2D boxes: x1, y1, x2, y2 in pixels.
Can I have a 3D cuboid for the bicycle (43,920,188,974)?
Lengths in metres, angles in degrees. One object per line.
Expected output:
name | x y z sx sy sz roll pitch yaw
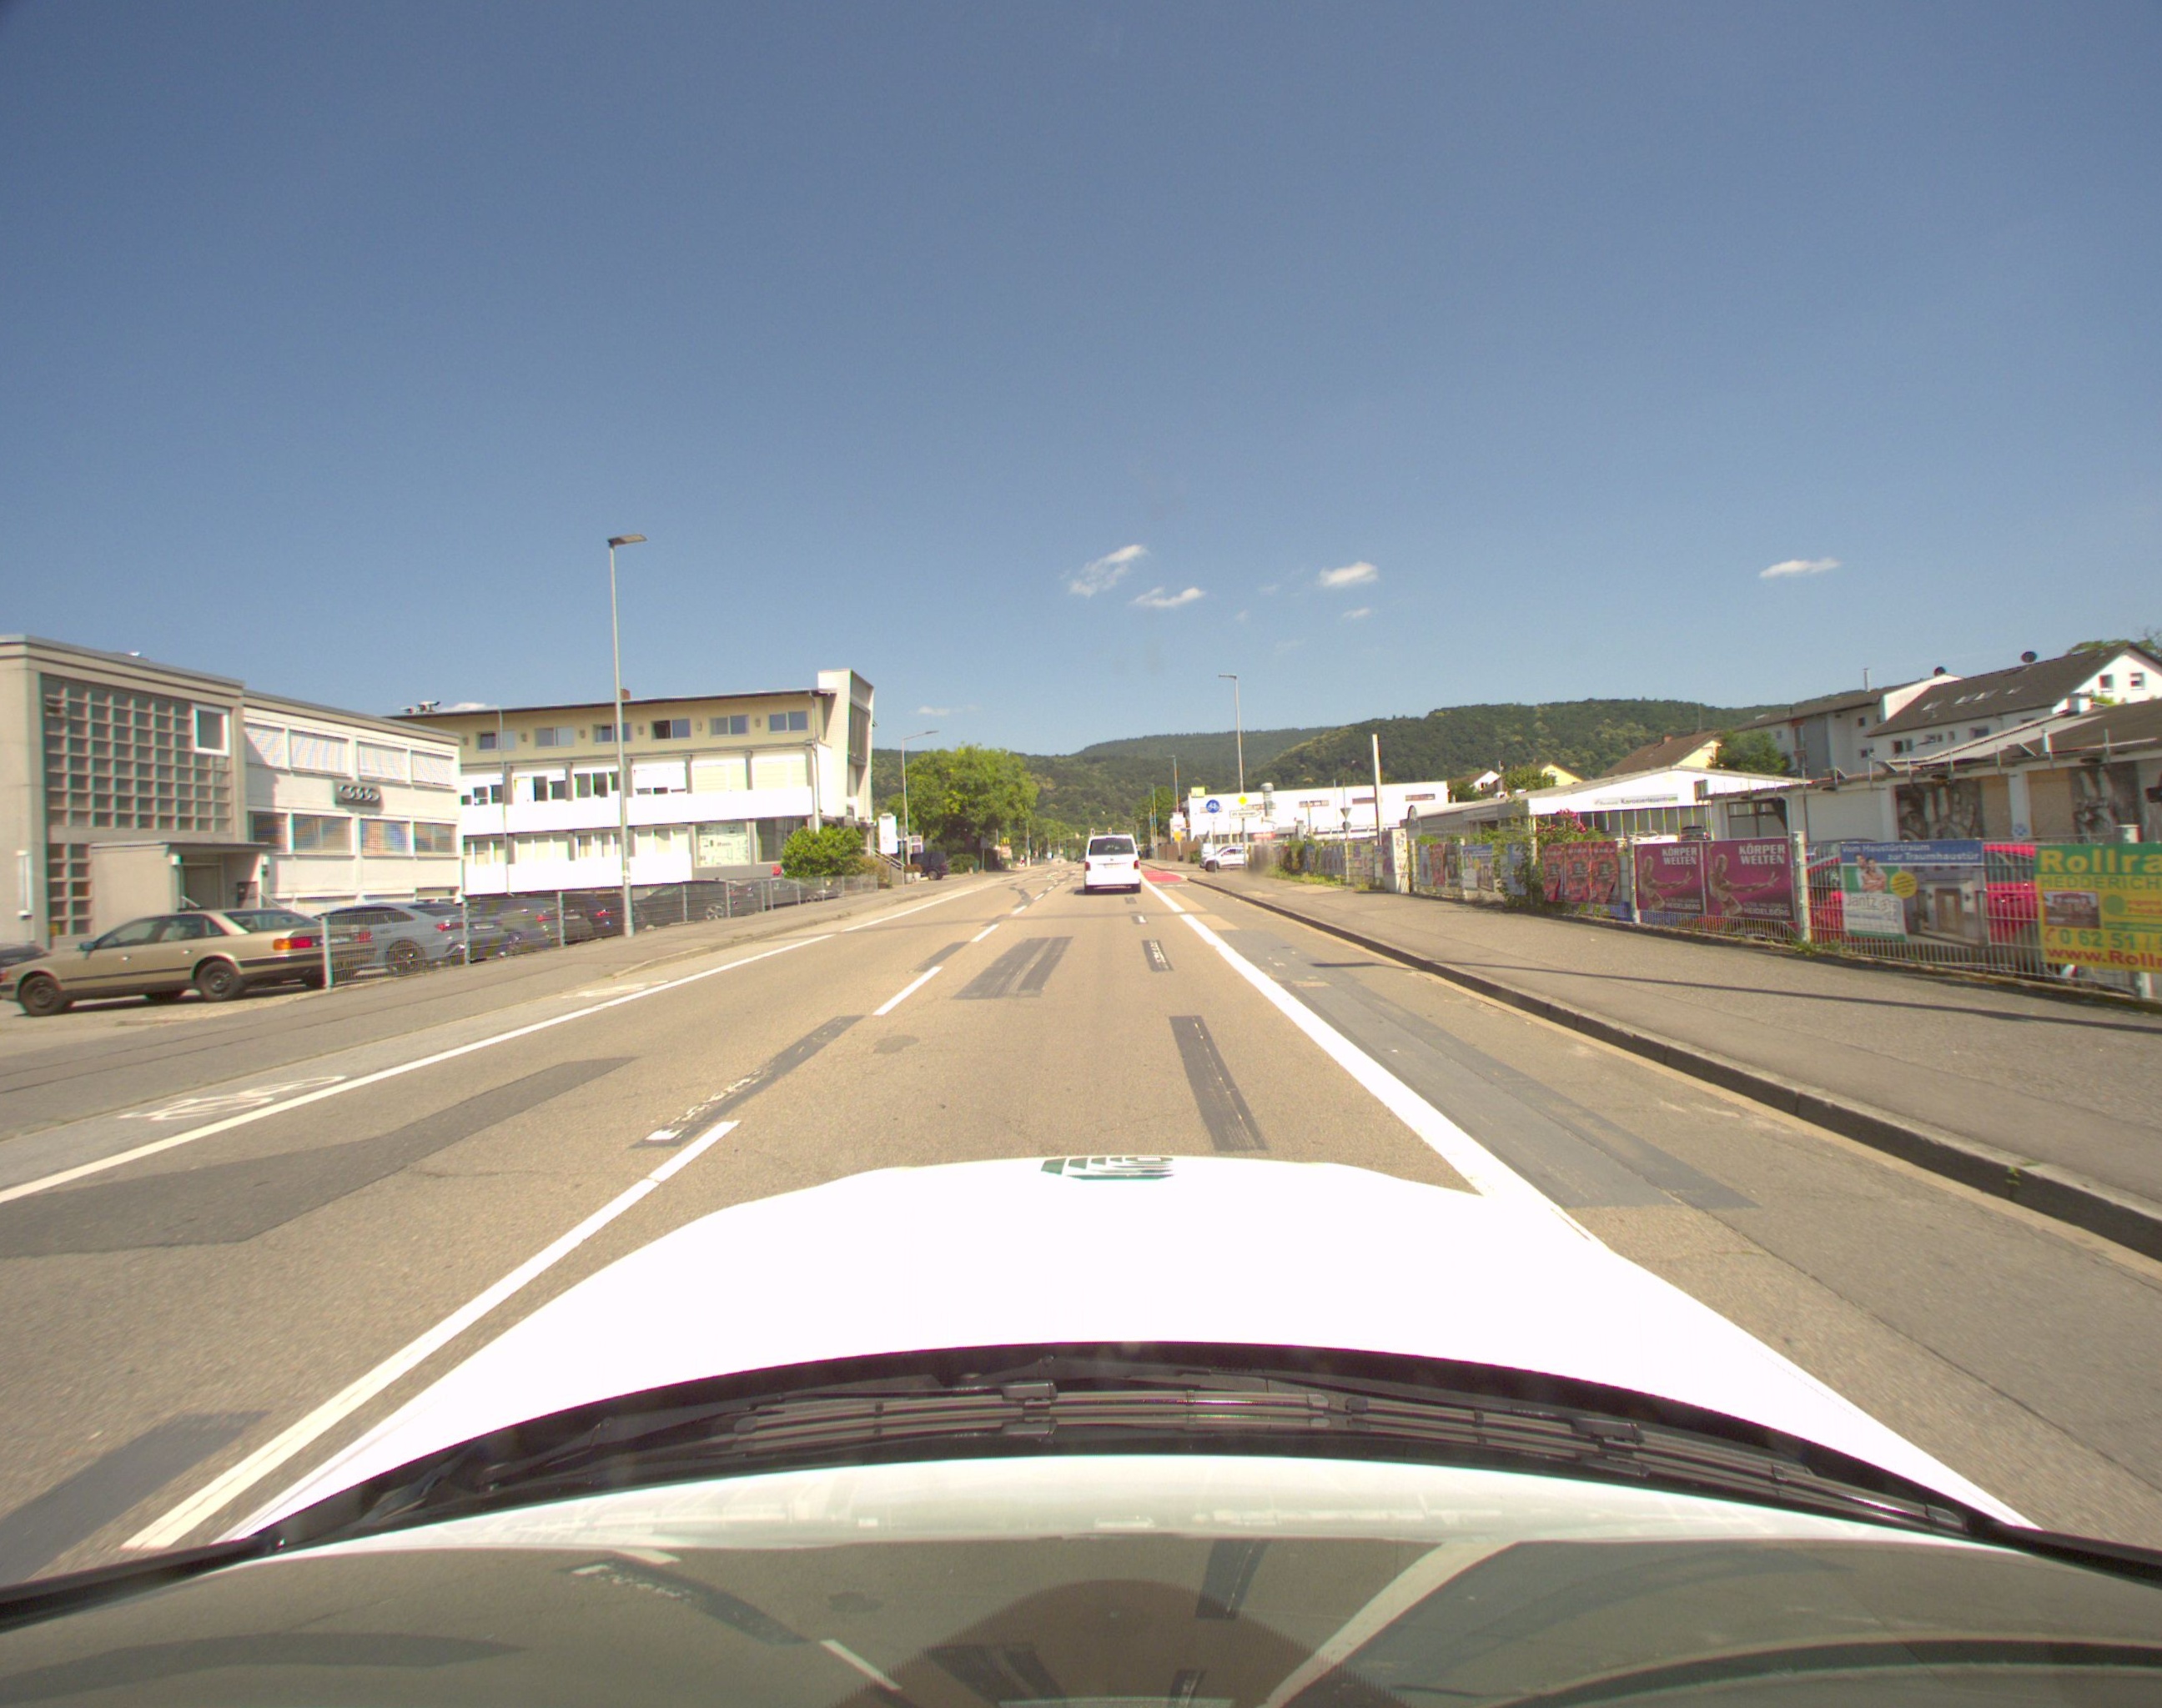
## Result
bicycle | -26.953 2.569 22.831 0.922 1.178 2.576 -3 0 0

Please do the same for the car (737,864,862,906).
car | -12.370 1.331 36.010 4.724 1.481 2.048 -4 0 0

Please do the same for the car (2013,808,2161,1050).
car | 9.436 0.490 4.786 4.984 1.621 2.035 -2 -5 44

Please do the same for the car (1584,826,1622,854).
car | 34.435 -0.947 53.798 1.974 1.647 4.026 -1 2 31

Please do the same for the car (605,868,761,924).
car | -13.570 1.397 27.986 4.286 1.558 1.993 -4 0 -3

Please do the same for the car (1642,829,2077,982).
car | 9.771 0.588 10.637 3.781 1.616 1.905 -2 0 41

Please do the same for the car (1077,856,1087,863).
car | 0.236 1.244 180.072 1.987 1.370 4.327 -4 0 0

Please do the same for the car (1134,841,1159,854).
car | 10.735 -1.058 133.258 3.965 1.775 2.004 -4 0 7

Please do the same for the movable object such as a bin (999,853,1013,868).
movable object such as a bin | -8.643 0.752 93.278 1.447 1.590 1.304 -4 0 -7

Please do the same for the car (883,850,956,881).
car | -11.004 0.743 55.799 4.557 1.865 2.090 -3 0 -4

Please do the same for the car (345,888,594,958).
car | -13.368 1.490 18.007 3.975 1.443 1.858 0 -2 -1

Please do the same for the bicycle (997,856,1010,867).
bicycle | -7.962 0.768 83.793 1.024 1.118 2.764 -1 0 -1

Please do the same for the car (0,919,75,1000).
car | -24.410 2.335 16.975 4.342 1.553 1.858 -3 0 -2

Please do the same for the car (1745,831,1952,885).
car | 23.714 0.118 25.327 4.309 1.398 2.122 -3 0 4

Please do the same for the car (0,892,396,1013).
car | -14.265 1.536 13.233 4.510 1.457 1.900 -4 0 -1

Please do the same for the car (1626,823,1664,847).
car | 37.394 -1.254 54.049 1.771 1.464 3.848 -1 -1 30

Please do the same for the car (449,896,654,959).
car | -13.517 1.867 20.994 3.977 1.490 1.857 1 -2 -2

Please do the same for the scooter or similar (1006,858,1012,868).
scooter or similar | -7.749 0.952 87.585 0.646 1.127 1.620 0 0 -5

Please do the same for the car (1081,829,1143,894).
car | 1.013 0.238 28.681 1.928 2.059 4.544 -2 0 0

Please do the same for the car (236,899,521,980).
car | -13.563 1.624 15.918 3.877 1.444 1.823 0 -2 0

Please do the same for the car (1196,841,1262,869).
car | 8.668 0.041 47.884 3.649 1.484 1.730 -3 0 3
